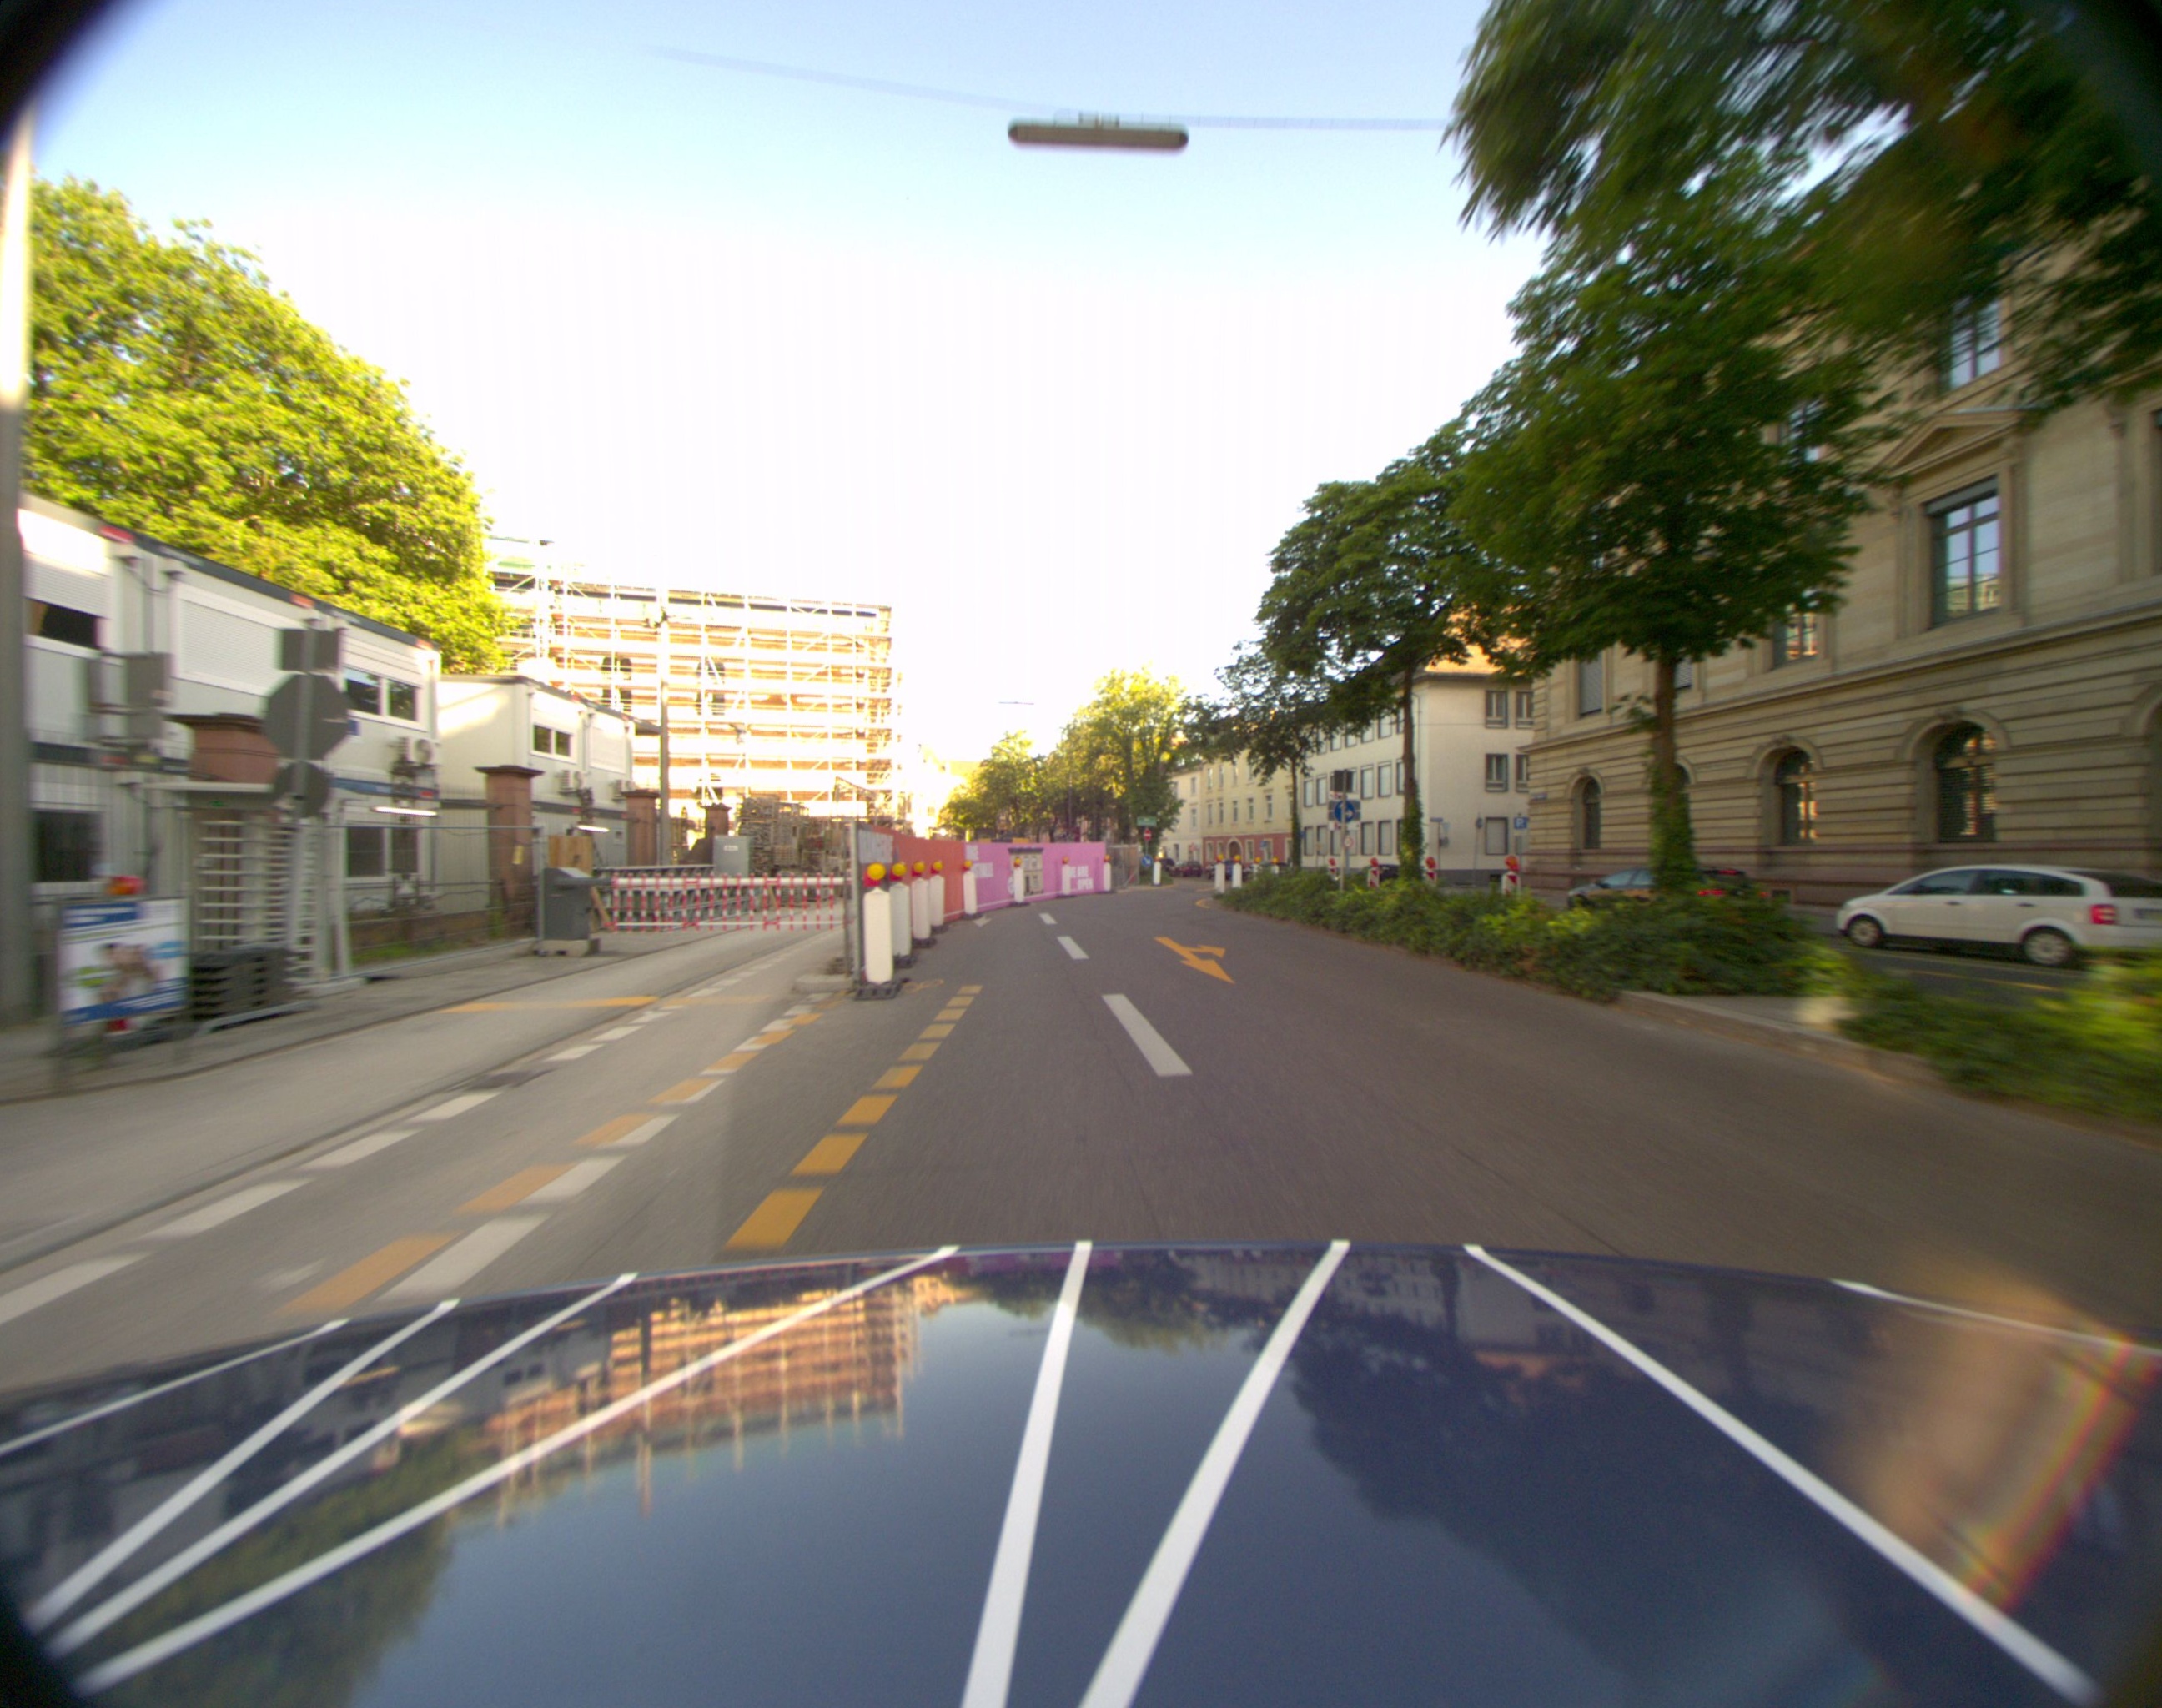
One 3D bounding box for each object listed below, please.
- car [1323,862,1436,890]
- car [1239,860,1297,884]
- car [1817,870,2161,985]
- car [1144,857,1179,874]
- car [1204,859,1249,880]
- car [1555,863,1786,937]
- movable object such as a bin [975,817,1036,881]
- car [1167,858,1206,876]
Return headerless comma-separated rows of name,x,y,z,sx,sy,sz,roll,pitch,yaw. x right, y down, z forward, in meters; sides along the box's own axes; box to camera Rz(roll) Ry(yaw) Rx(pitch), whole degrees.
car,14.431,1.053,36.875,4.772,1.315,1.767,0,0,0
car,12.559,1.156,51.332,1.882,1.499,4.782,-1,0,-12
car,14.720,1.050,12.339,1.672,1.499,3.845,0,0,-3
car,7.562,1.070,71.862,1.820,1.562,4.383,0,0,-16
car,11.118,1.171,58.234,1.808,1.562,4.150,0,0,-13
car,14.198,1.029,18.742,1.884,1.499,4.642,2,0,-3
movable object such as a bin,-4.157,-0.247,41.889,3.171,3.281,4.383,1,0,-6
car,9.193,1.090,66.639,1.773,1.479,4.188,-1,0,-17
